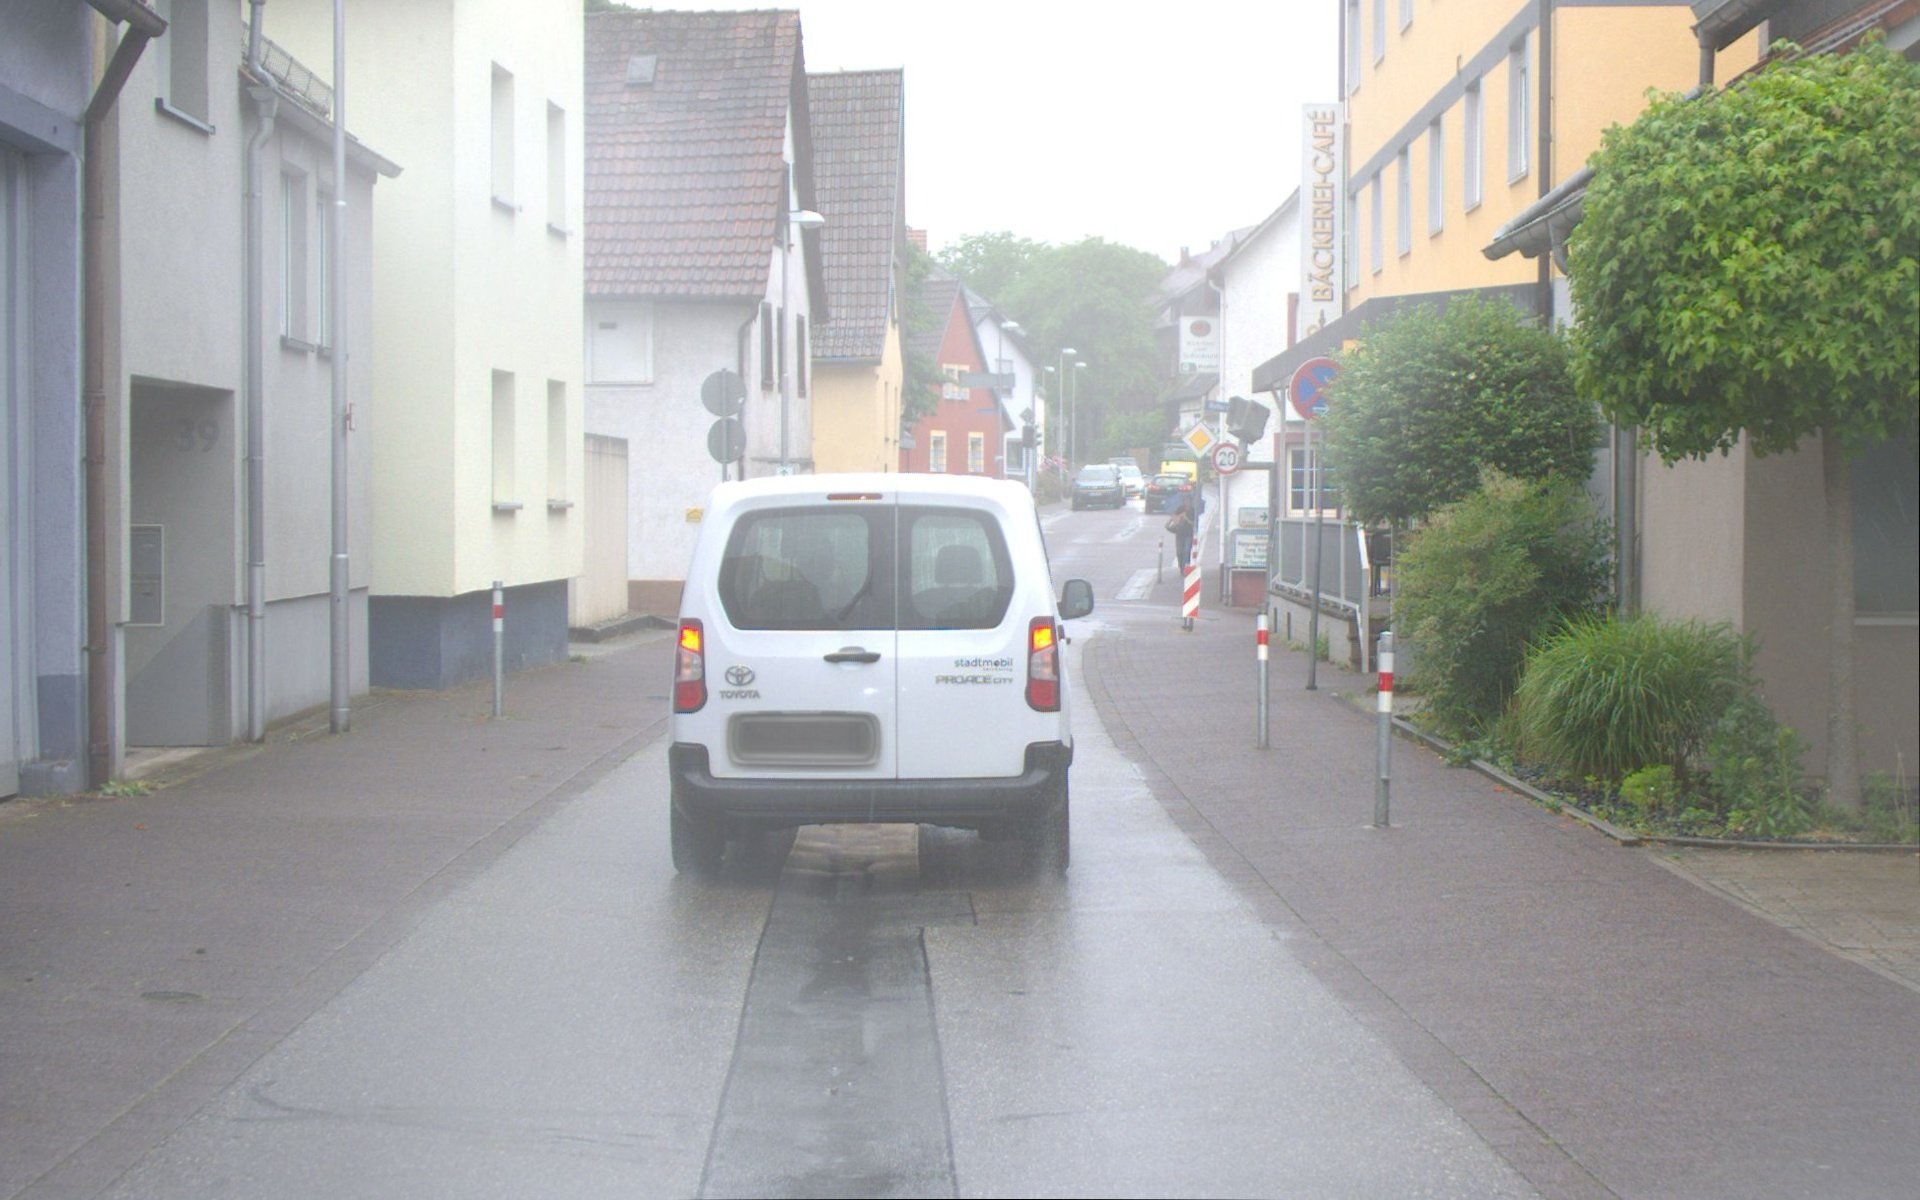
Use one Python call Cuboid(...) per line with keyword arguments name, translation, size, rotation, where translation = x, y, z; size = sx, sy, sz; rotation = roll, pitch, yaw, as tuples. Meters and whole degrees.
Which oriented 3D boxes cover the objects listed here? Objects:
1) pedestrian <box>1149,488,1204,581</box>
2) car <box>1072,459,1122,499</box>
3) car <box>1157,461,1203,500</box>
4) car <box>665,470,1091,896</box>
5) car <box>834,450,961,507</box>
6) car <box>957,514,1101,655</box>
Cuboid(name="pedestrian", translation=(4.486, -1.354, 71.302), size=(1.050, 1.886, 0.877), rotation=(-1, 1, 0))
Cuboid(name="car", translation=(5.287, -4.648, 132.439), size=(1.589, 1.436, 3.765), rotation=(1, 1, 7))
Cuboid(name="car", translation=(8.583, -4.663, 134.131), size=(1.589, 1.436, 3.765), rotation=(1, 1, 6))
Cuboid(name="car", translation=(-0.392, 0.313, 16.594), size=(1.774, 1.774, 4.000), rotation=(-1, 1, -1))
Cuboid(name="car", translation=(-1.977, -3.835, 108.277), size=(3.420, 1.554, 2.001), rotation=(-5, 3, -22))
Cuboid(name="car", translation=(1.087, -0.262, 51.977), size=(1.994, 2.007, 4.000), rotation=(-1, 1, 3))
